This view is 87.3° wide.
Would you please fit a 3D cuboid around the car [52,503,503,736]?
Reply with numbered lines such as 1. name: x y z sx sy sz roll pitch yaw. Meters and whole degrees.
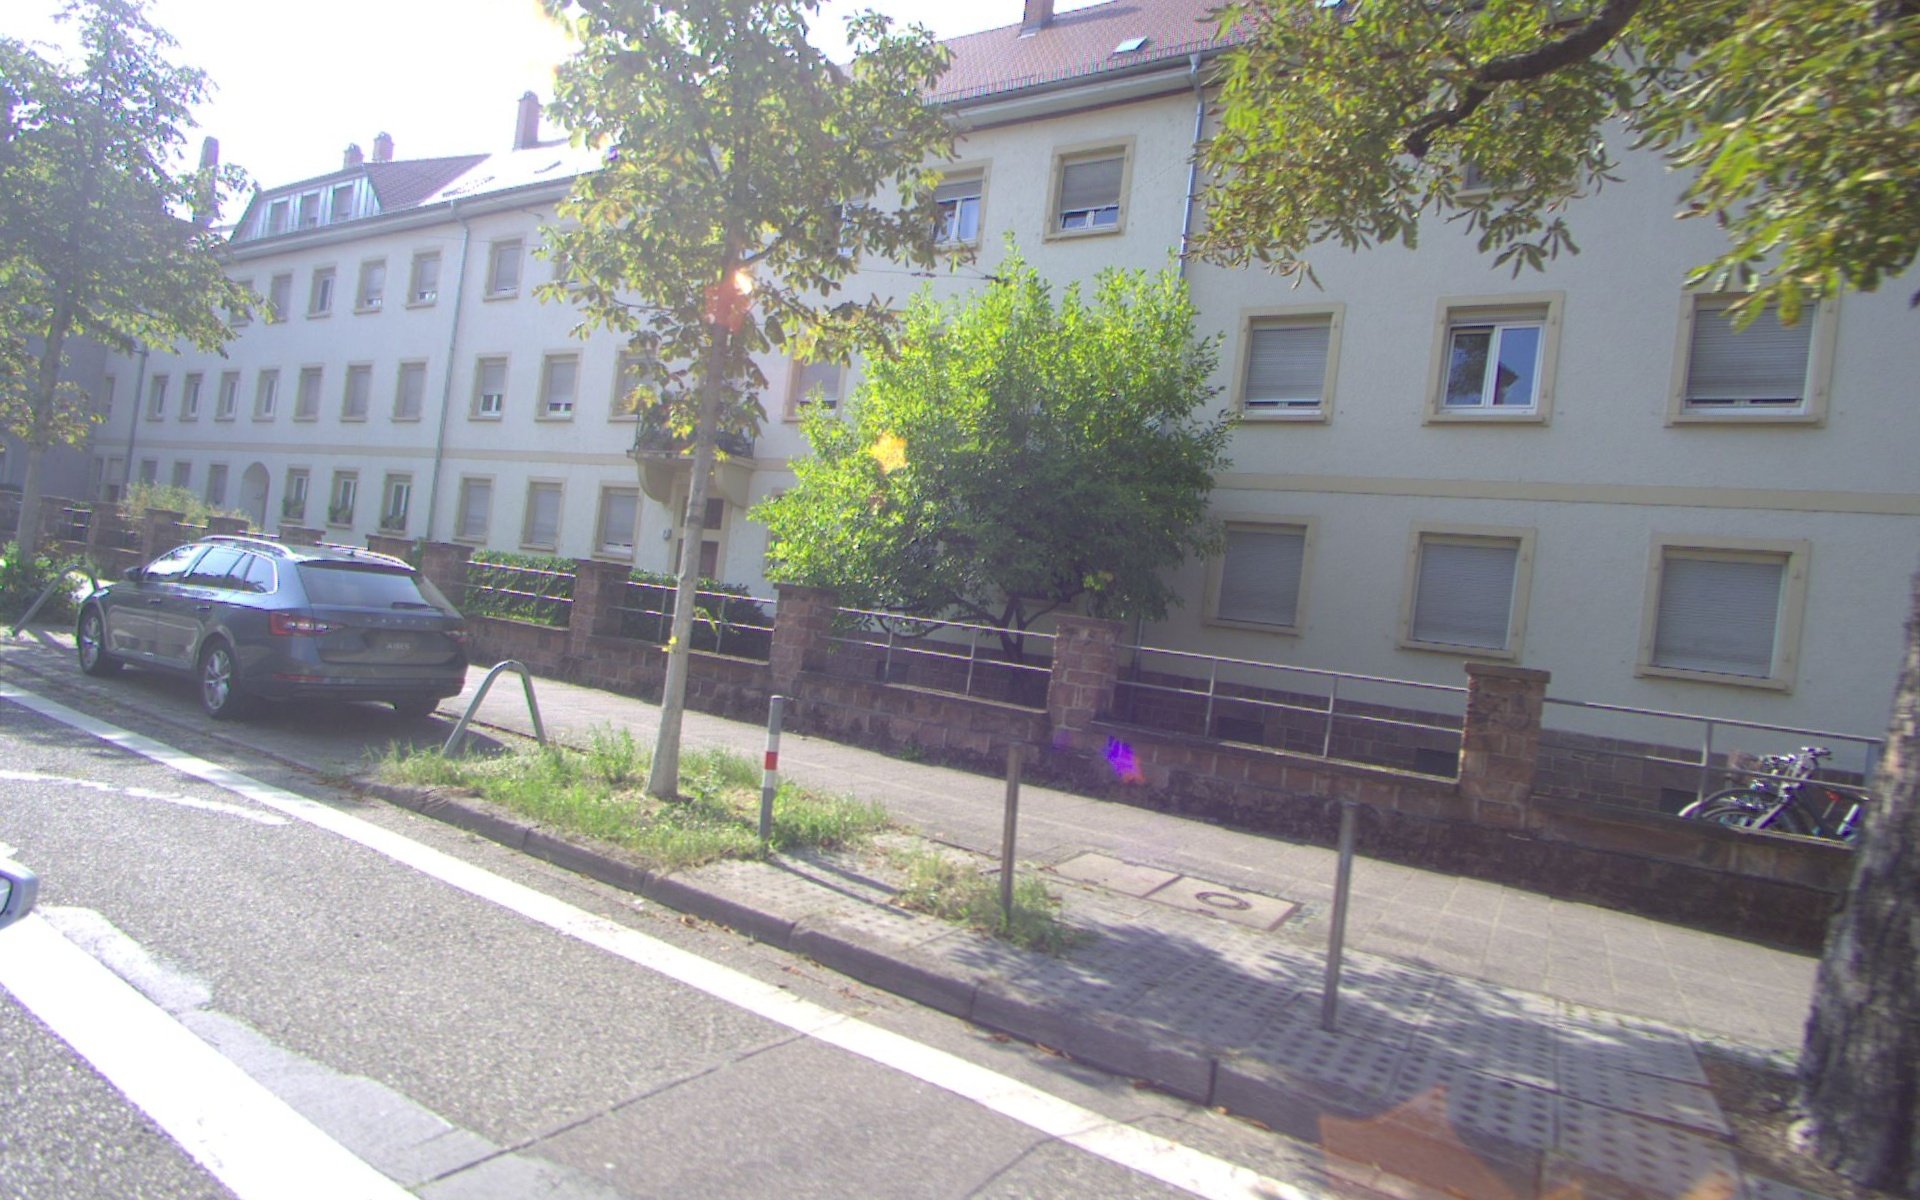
1. car: -6.612 0.097 9.572 4.641 1.579 1.746 6 -1 32

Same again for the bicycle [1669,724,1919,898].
1. bicycle: 6.721 1.661 8.154 1.463 1.073 0.416 7 0 32

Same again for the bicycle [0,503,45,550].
1. bicycle: -26.109 -2.062 27.877 1.966 1.117 0.425 7 0 29

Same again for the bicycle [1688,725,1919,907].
1. bicycle: 6.456 1.591 7.558 1.463 1.073 0.416 7 0 32

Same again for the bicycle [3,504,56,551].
1. bicycle: -25.968 -2.018 28.061 1.966 1.117 0.425 7 0 29

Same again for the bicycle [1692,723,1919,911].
1. bicycle: 6.212 1.529 7.179 1.463 1.073 0.416 7 0 32

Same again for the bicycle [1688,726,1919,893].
1. bicycle: 7.100 1.713 8.459 1.463 1.073 0.416 7 0 32

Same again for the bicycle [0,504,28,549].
1. bicycle: -26.314 -2.064 27.587 1.966 1.117 0.424 7 0 29
